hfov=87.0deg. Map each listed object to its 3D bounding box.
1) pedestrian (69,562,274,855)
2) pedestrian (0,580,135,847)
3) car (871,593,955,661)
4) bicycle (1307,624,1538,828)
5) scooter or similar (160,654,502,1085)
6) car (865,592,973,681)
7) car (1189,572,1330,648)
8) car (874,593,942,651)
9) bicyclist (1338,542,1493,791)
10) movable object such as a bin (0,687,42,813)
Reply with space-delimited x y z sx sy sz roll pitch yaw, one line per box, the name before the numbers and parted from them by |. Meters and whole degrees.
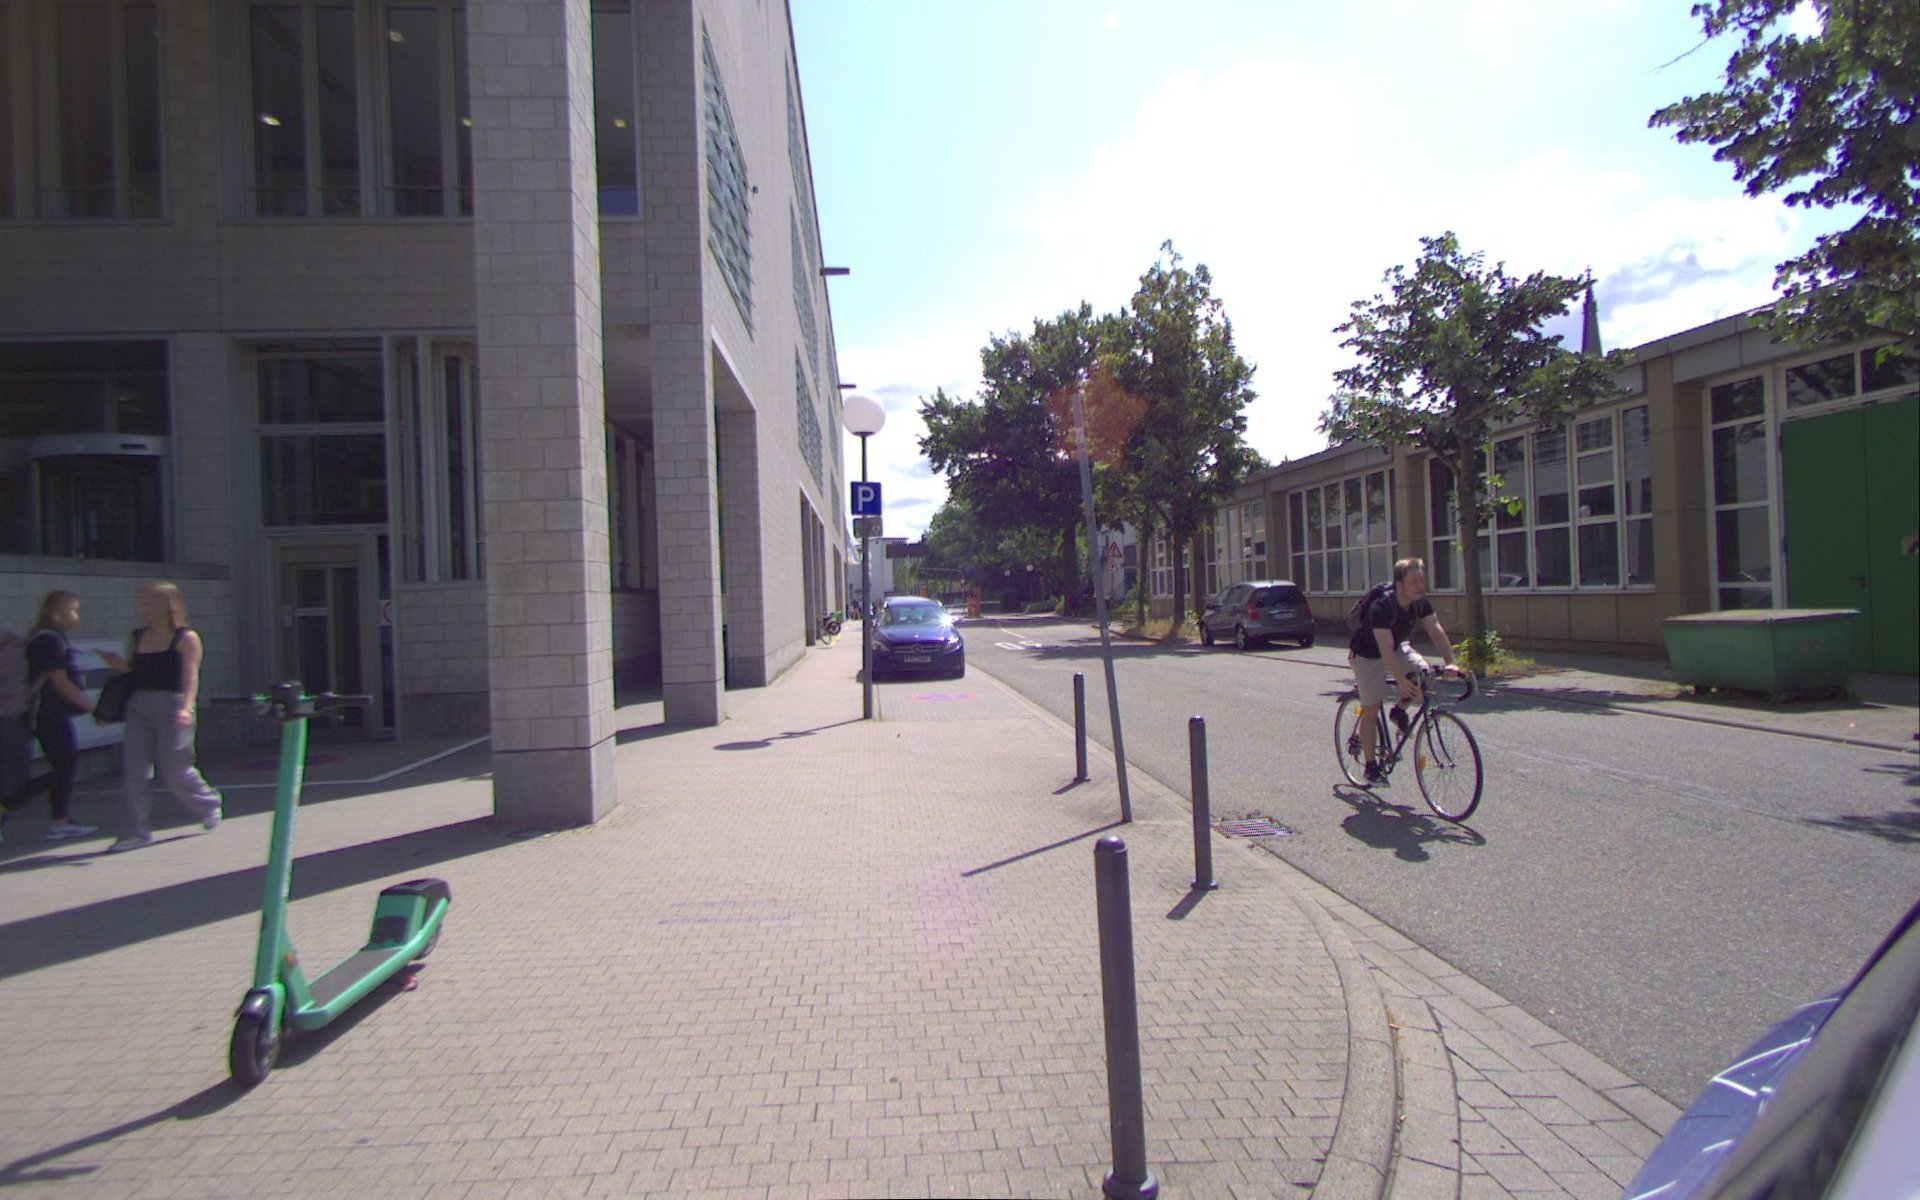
pedestrian | -4.920 0.639 6.375 0.688 1.676 0.884 -2 -2 -13
pedestrian | -5.921 0.702 6.578 0.813 1.619 0.589 -2 -1 -41
car | -1.259 0.627 25.390 1.815 1.494 4.138 -2 0 -6
bicycle | 3.073 0.774 6.949 0.593 1.122 1.831 -4 0 -3
scooter or similar | -2.088 0.813 3.514 0.436 1.166 1.158 -2 0 0
car | -0.912 0.641 19.976 1.815 1.494 4.138 -2 0 -6
car | 7.320 0.230 25.223 1.815 1.597 4.138 -4 0 -6
car | -1.661 0.637 31.213 1.815 1.601 4.138 -2 0 -6
bicyclist | 3.052 0.422 6.839 0.593 1.554 0.728 -4 0 -3
movable object such as a bin | -7.688 1.193 7.987 0.540 0.950 0.374 -3 -1 -24
